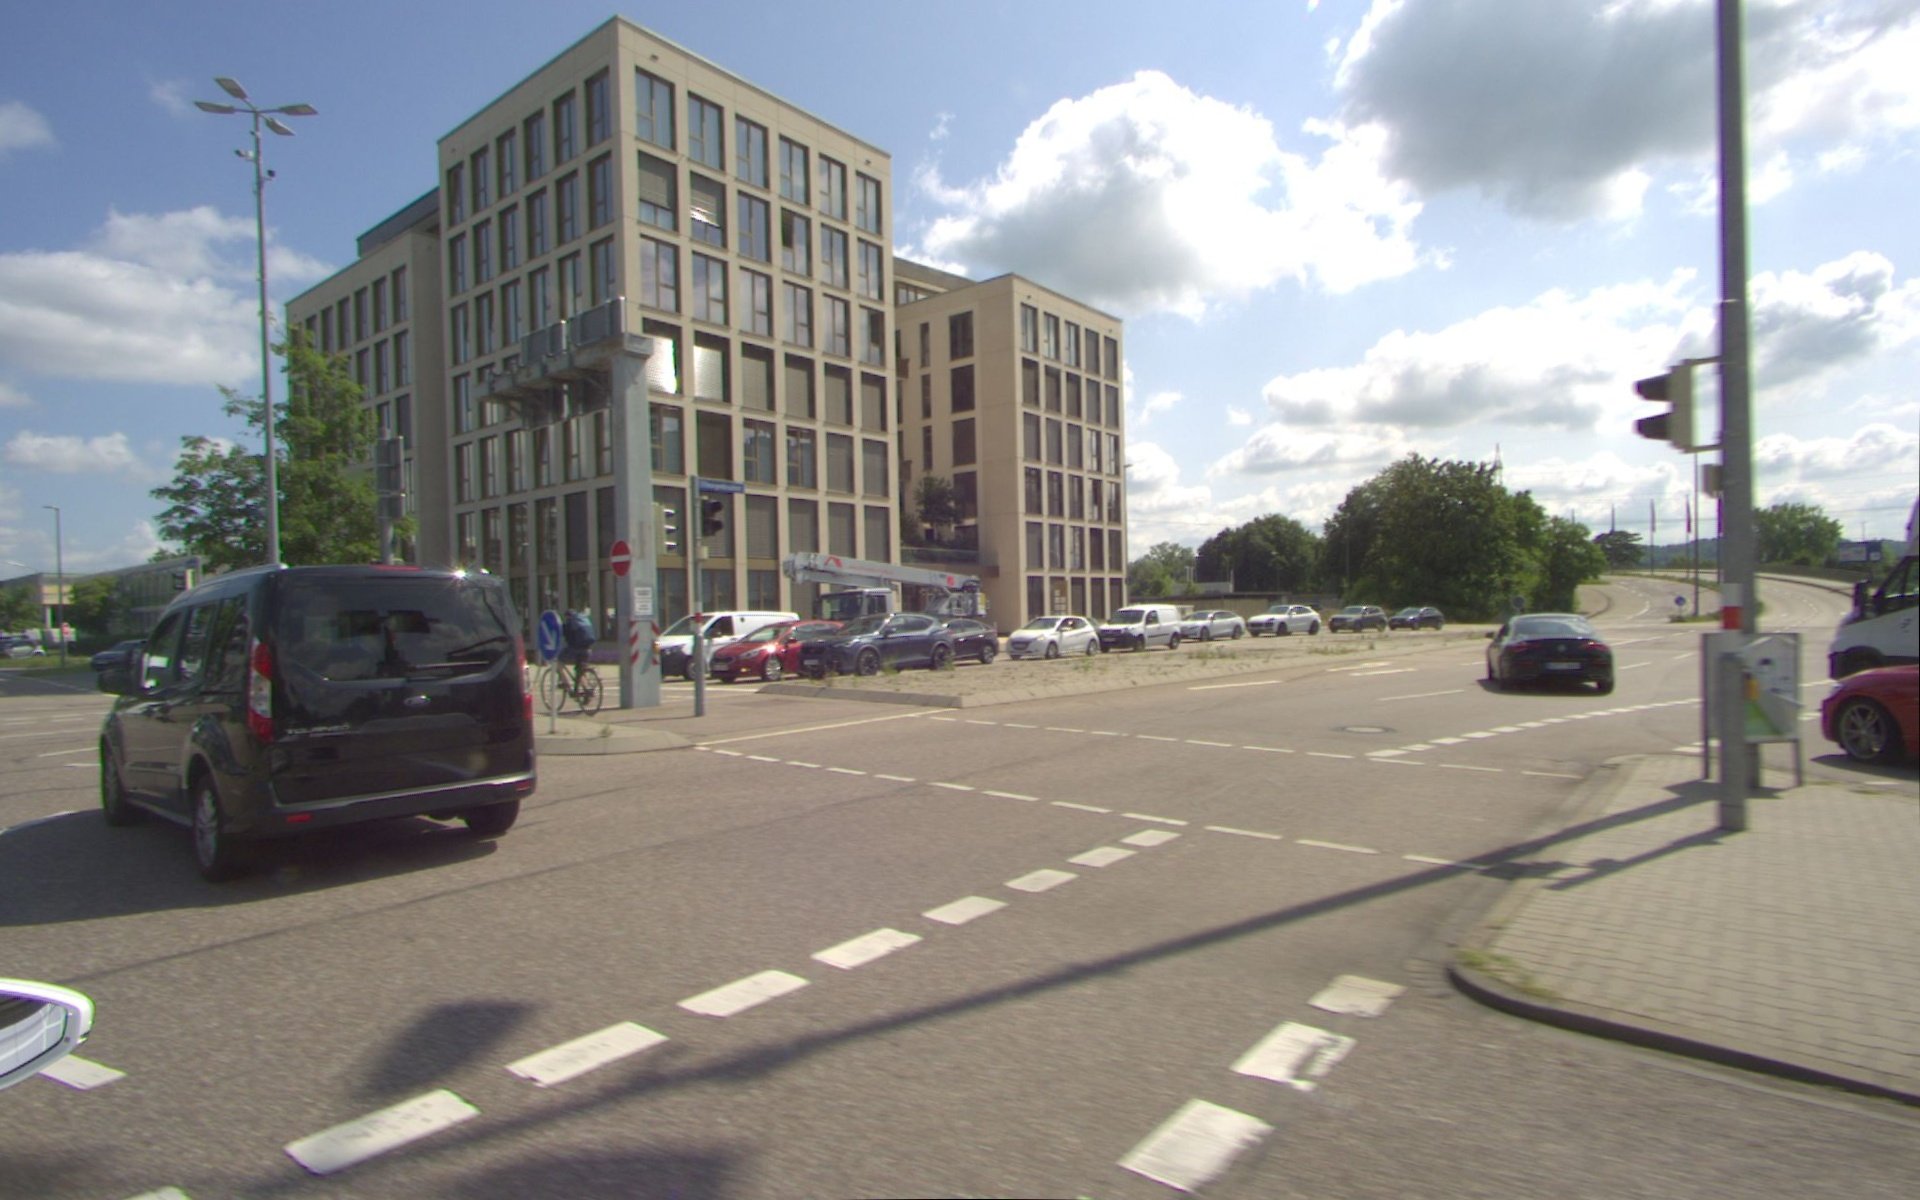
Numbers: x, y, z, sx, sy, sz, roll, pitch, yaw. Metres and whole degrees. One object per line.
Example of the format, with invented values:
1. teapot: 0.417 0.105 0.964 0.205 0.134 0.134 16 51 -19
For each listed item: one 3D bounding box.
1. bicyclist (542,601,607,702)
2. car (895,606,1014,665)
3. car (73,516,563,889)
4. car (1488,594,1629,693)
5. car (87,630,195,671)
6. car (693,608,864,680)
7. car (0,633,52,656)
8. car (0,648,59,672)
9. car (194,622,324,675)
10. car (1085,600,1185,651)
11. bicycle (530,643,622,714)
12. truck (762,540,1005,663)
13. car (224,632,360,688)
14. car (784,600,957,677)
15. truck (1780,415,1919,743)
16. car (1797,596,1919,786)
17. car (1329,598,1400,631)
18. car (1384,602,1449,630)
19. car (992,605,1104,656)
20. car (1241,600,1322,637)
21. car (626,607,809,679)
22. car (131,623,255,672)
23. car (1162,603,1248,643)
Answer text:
1. bicyclist: -5.950 0.795 15.452 0.632 1.495 0.907 0 -3 -43
2. car: -0.080 1.098 30.819 1.801 1.647 4.194 -3 -3 29
3. car: -4.723 0.622 7.156 3.953 1.929 1.816 -3 -2 39
4. car: 11.365 0.791 19.296 1.834 1.677 4.207 0 -1 24
5. car: -42.440 2.610 51.941 1.974 2.039 3.977 -3 -3 35
6. car: -4.495 1.106 25.356 1.805 1.647 4.186 -3 -3 35
7. car: -90.004 4.186 94.349 2.545 2.039 6.311 -4 -3 41
8. car: -72.113 4.623 77.011 1.978 1.771 3.968 -3 -3 41
9. car: -28.716 1.968 41.112 1.974 2.039 3.977 -3 -3 35
10. car: 6.941 1.004 39.369 1.808 1.860 4.410 -3 -3 41
11. bicycle: -5.950 1.197 15.456 0.643 1.024 1.960 0 -3 -43
12. truck: -2.256 0.202 34.350 2.641 3.599 9.723 -3 -3 36
13. car: -25.921 2.309 38.957 1.974 2.039 3.977 -3 -3 35
14. car: -2.020 0.915 23.769 1.805 1.647 4.186 -3 -3 35
15. truck: 13.399 -0.409 9.995 3.160 4.077 9.077 -2 -3 3
16. car: 9.406 0.726 7.904 1.829 1.676 4.221 -2 -3 -4
17. car: 23.913 0.870 59.132 4.391 1.861 1.816 0 -3 -36
18. car: 28.902 1.006 63.325 4.391 1.634 1.816 0 -3 -36
19. car: 3.123 1.074 34.777 1.807 1.647 4.180 -3 -3 40
20. car: 17.559 1.014 54.583 4.656 1.861 1.816 0 -3 -36
21. car: -6.772 1.212 28.486 1.974 1.860 4.962 -3 -3 35
22. car: -33.708 2.070 44.090 1.974 2.039 3.977 -3 -3 35
23. car: 12.366 1.172 50.343 4.674 1.860 1.813 1 -3 -41
